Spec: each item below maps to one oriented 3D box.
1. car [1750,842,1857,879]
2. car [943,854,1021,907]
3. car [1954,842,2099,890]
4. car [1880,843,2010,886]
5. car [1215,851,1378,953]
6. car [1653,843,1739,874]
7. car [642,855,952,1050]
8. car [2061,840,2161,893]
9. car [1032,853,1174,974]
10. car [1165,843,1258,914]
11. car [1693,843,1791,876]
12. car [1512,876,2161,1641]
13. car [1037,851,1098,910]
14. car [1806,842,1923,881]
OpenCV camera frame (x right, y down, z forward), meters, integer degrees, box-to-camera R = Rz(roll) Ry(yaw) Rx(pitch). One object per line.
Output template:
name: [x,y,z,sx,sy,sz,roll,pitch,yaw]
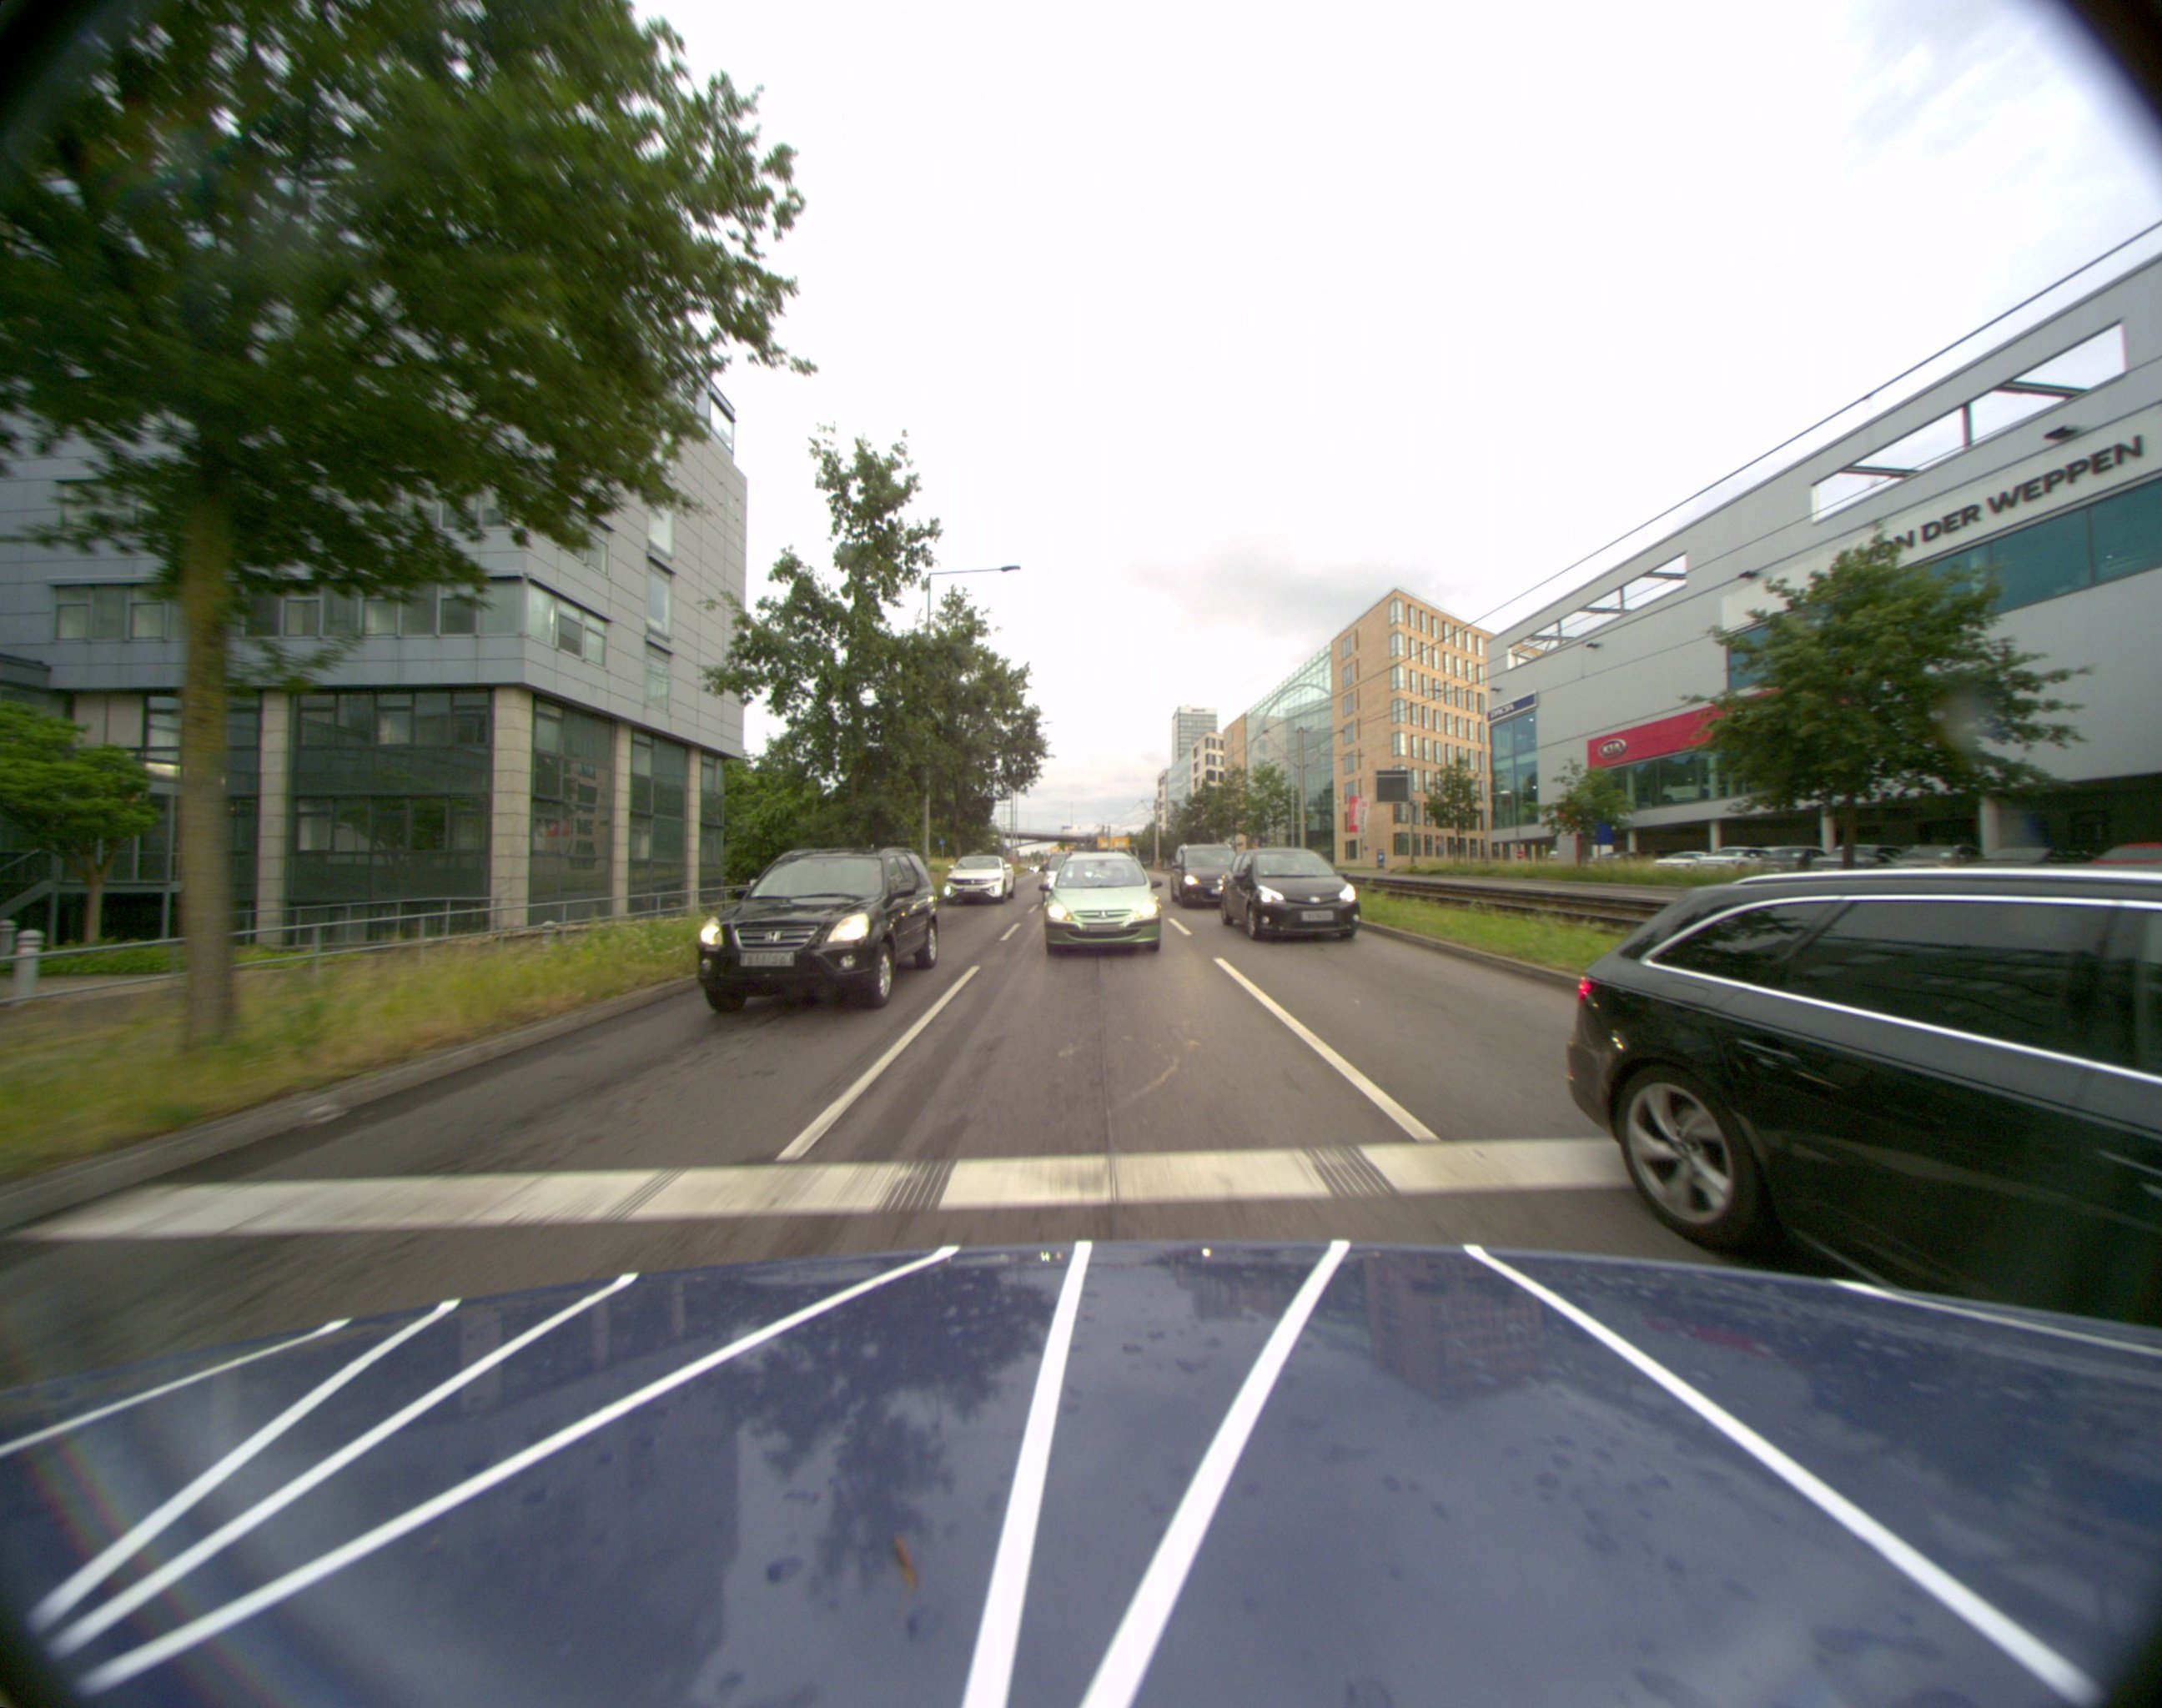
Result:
car: [32.328,0.277,34.018,3.845,1.482,1.821,-1,0,-17]
car: [-3.077,0.779,24.384,1.873,1.533,4.107,-1,0,1]
car: [32.209,0.396,25.903,3.845,1.482,1.821,-1,0,-17]
car: [32.382,0.374,28.491,3.845,1.482,1.821,-1,0,-17]
car: [3.583,0.720,13.410,1.798,1.493,4.000,-1,0,1]
car: [31.872,0.235,39.367,3.846,1.482,1.820,-1,0,-22]
car: [-2.860,0.864,8.885,1.816,1.660,4.549,-1,0,1]
car: [32.333,0.352,23.149,3.845,1.482,1.821,-1,0,-17]
car: [0.318,0.783,12.076,1.803,1.533,4.374,-1,0,1]
car: [3.364,0.585,20.318,1.781,1.670,4.131,-1,0,1]
car: [31.977,0.254,36.773,3.845,1.482,1.821,-1,0,-17]
car: [3.040,0.840,1.386,1.794,1.426,4.828,-1,0,1]
car: [-0.332,0.716,22.081,1.598,1.533,3.707,-1,0,1]
car: [32.290,0.298,31.331,3.845,1.482,1.821,-1,0,-17]
